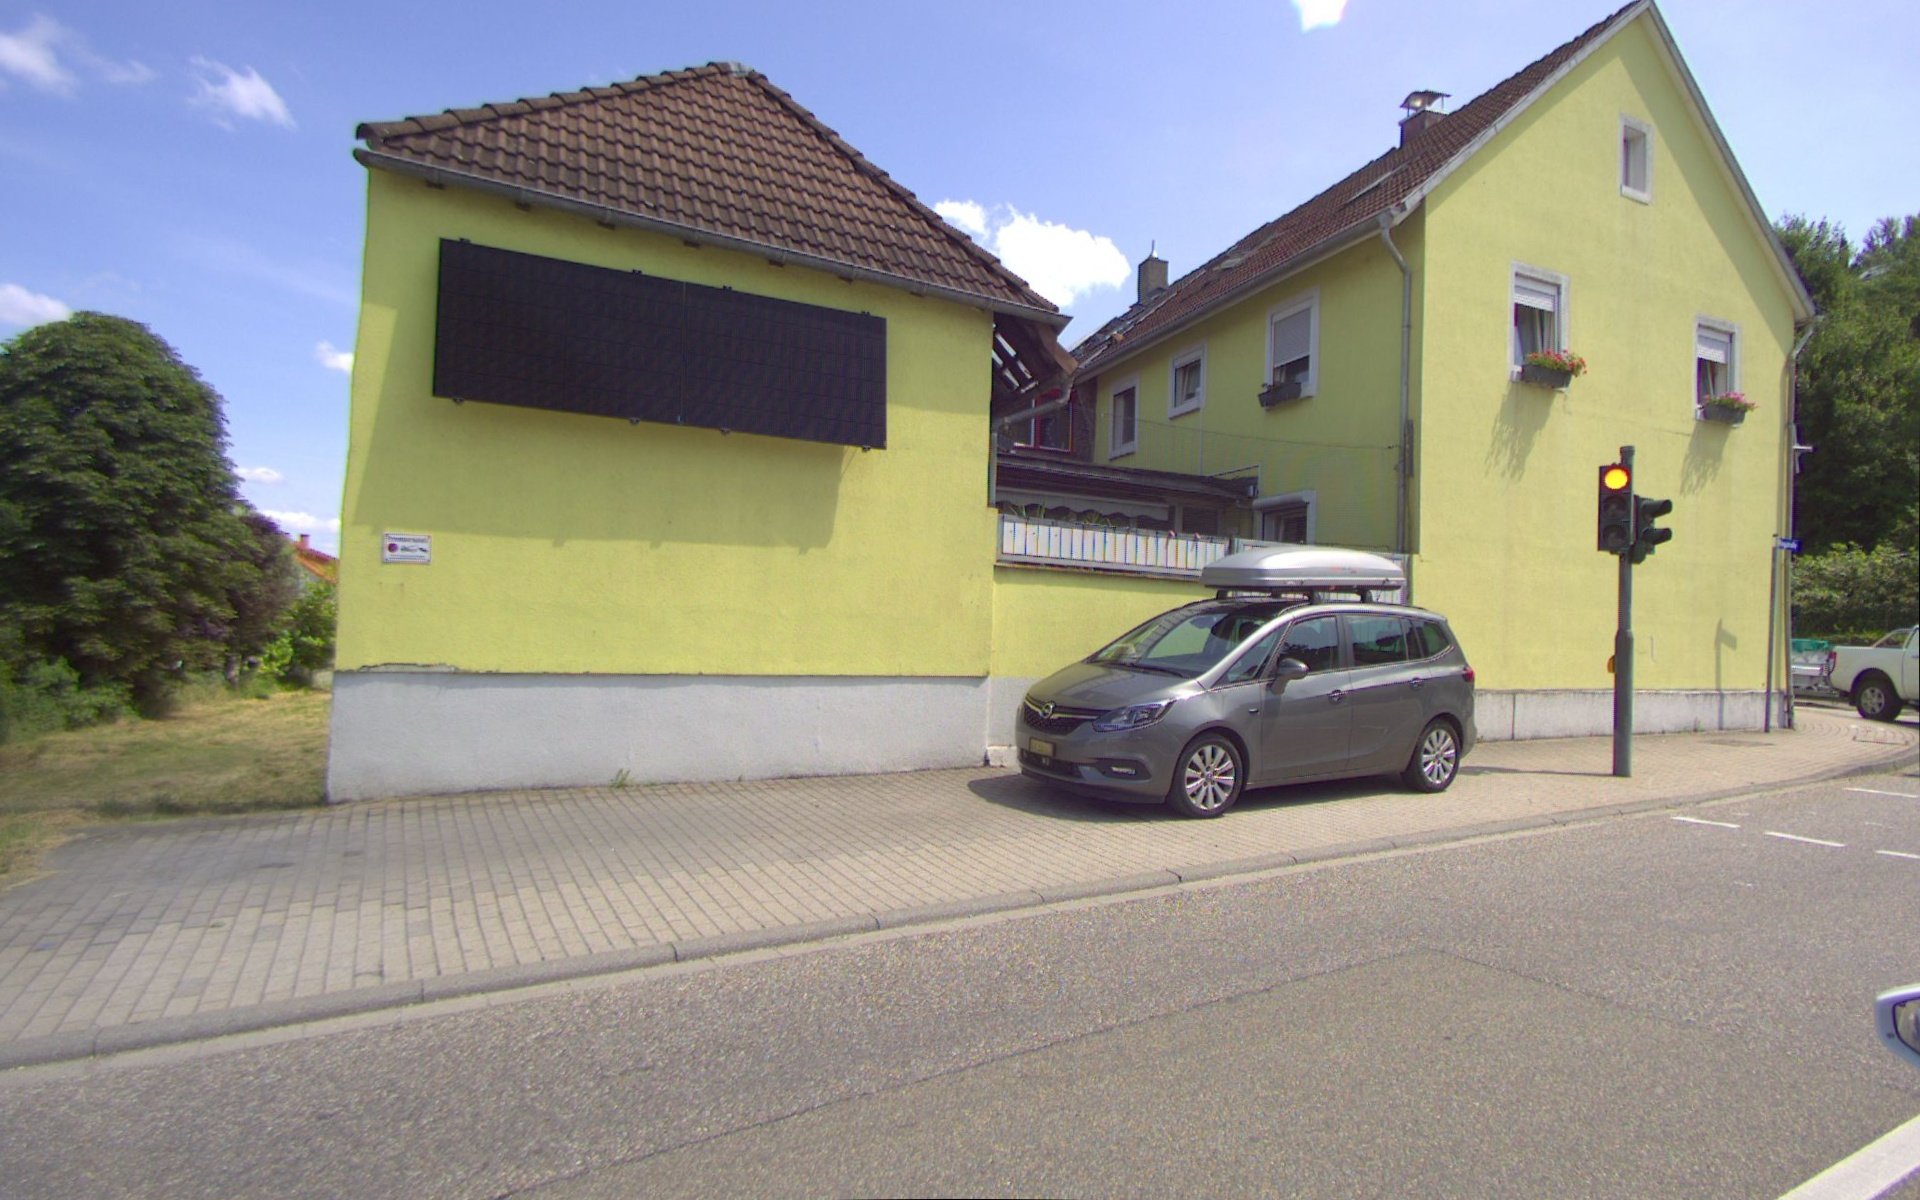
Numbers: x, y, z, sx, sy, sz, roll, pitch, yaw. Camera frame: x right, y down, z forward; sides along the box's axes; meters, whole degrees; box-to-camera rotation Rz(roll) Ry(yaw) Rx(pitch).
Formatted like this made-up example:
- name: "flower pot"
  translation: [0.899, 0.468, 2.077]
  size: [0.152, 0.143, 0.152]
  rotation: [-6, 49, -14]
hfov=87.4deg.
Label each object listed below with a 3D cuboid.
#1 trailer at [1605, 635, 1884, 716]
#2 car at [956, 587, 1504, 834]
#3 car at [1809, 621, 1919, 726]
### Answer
- name: "trailer"
  translation: [16.886, 1.550, 21.915]
  size: [1.951, 1.559, 4.420]
  rotation: [1, -2, -24]
- name: "car"
  translation: [2.450, 0.796, 8.821]
  size: [4.575, 1.657, 1.984]
  rotation: [2, 1, -30]
- name: "car"
  translation: [17.424, 1.256, 16.831]
  size: [1.939, 1.799, 5.316]
  rotation: [0, -2, 1]
